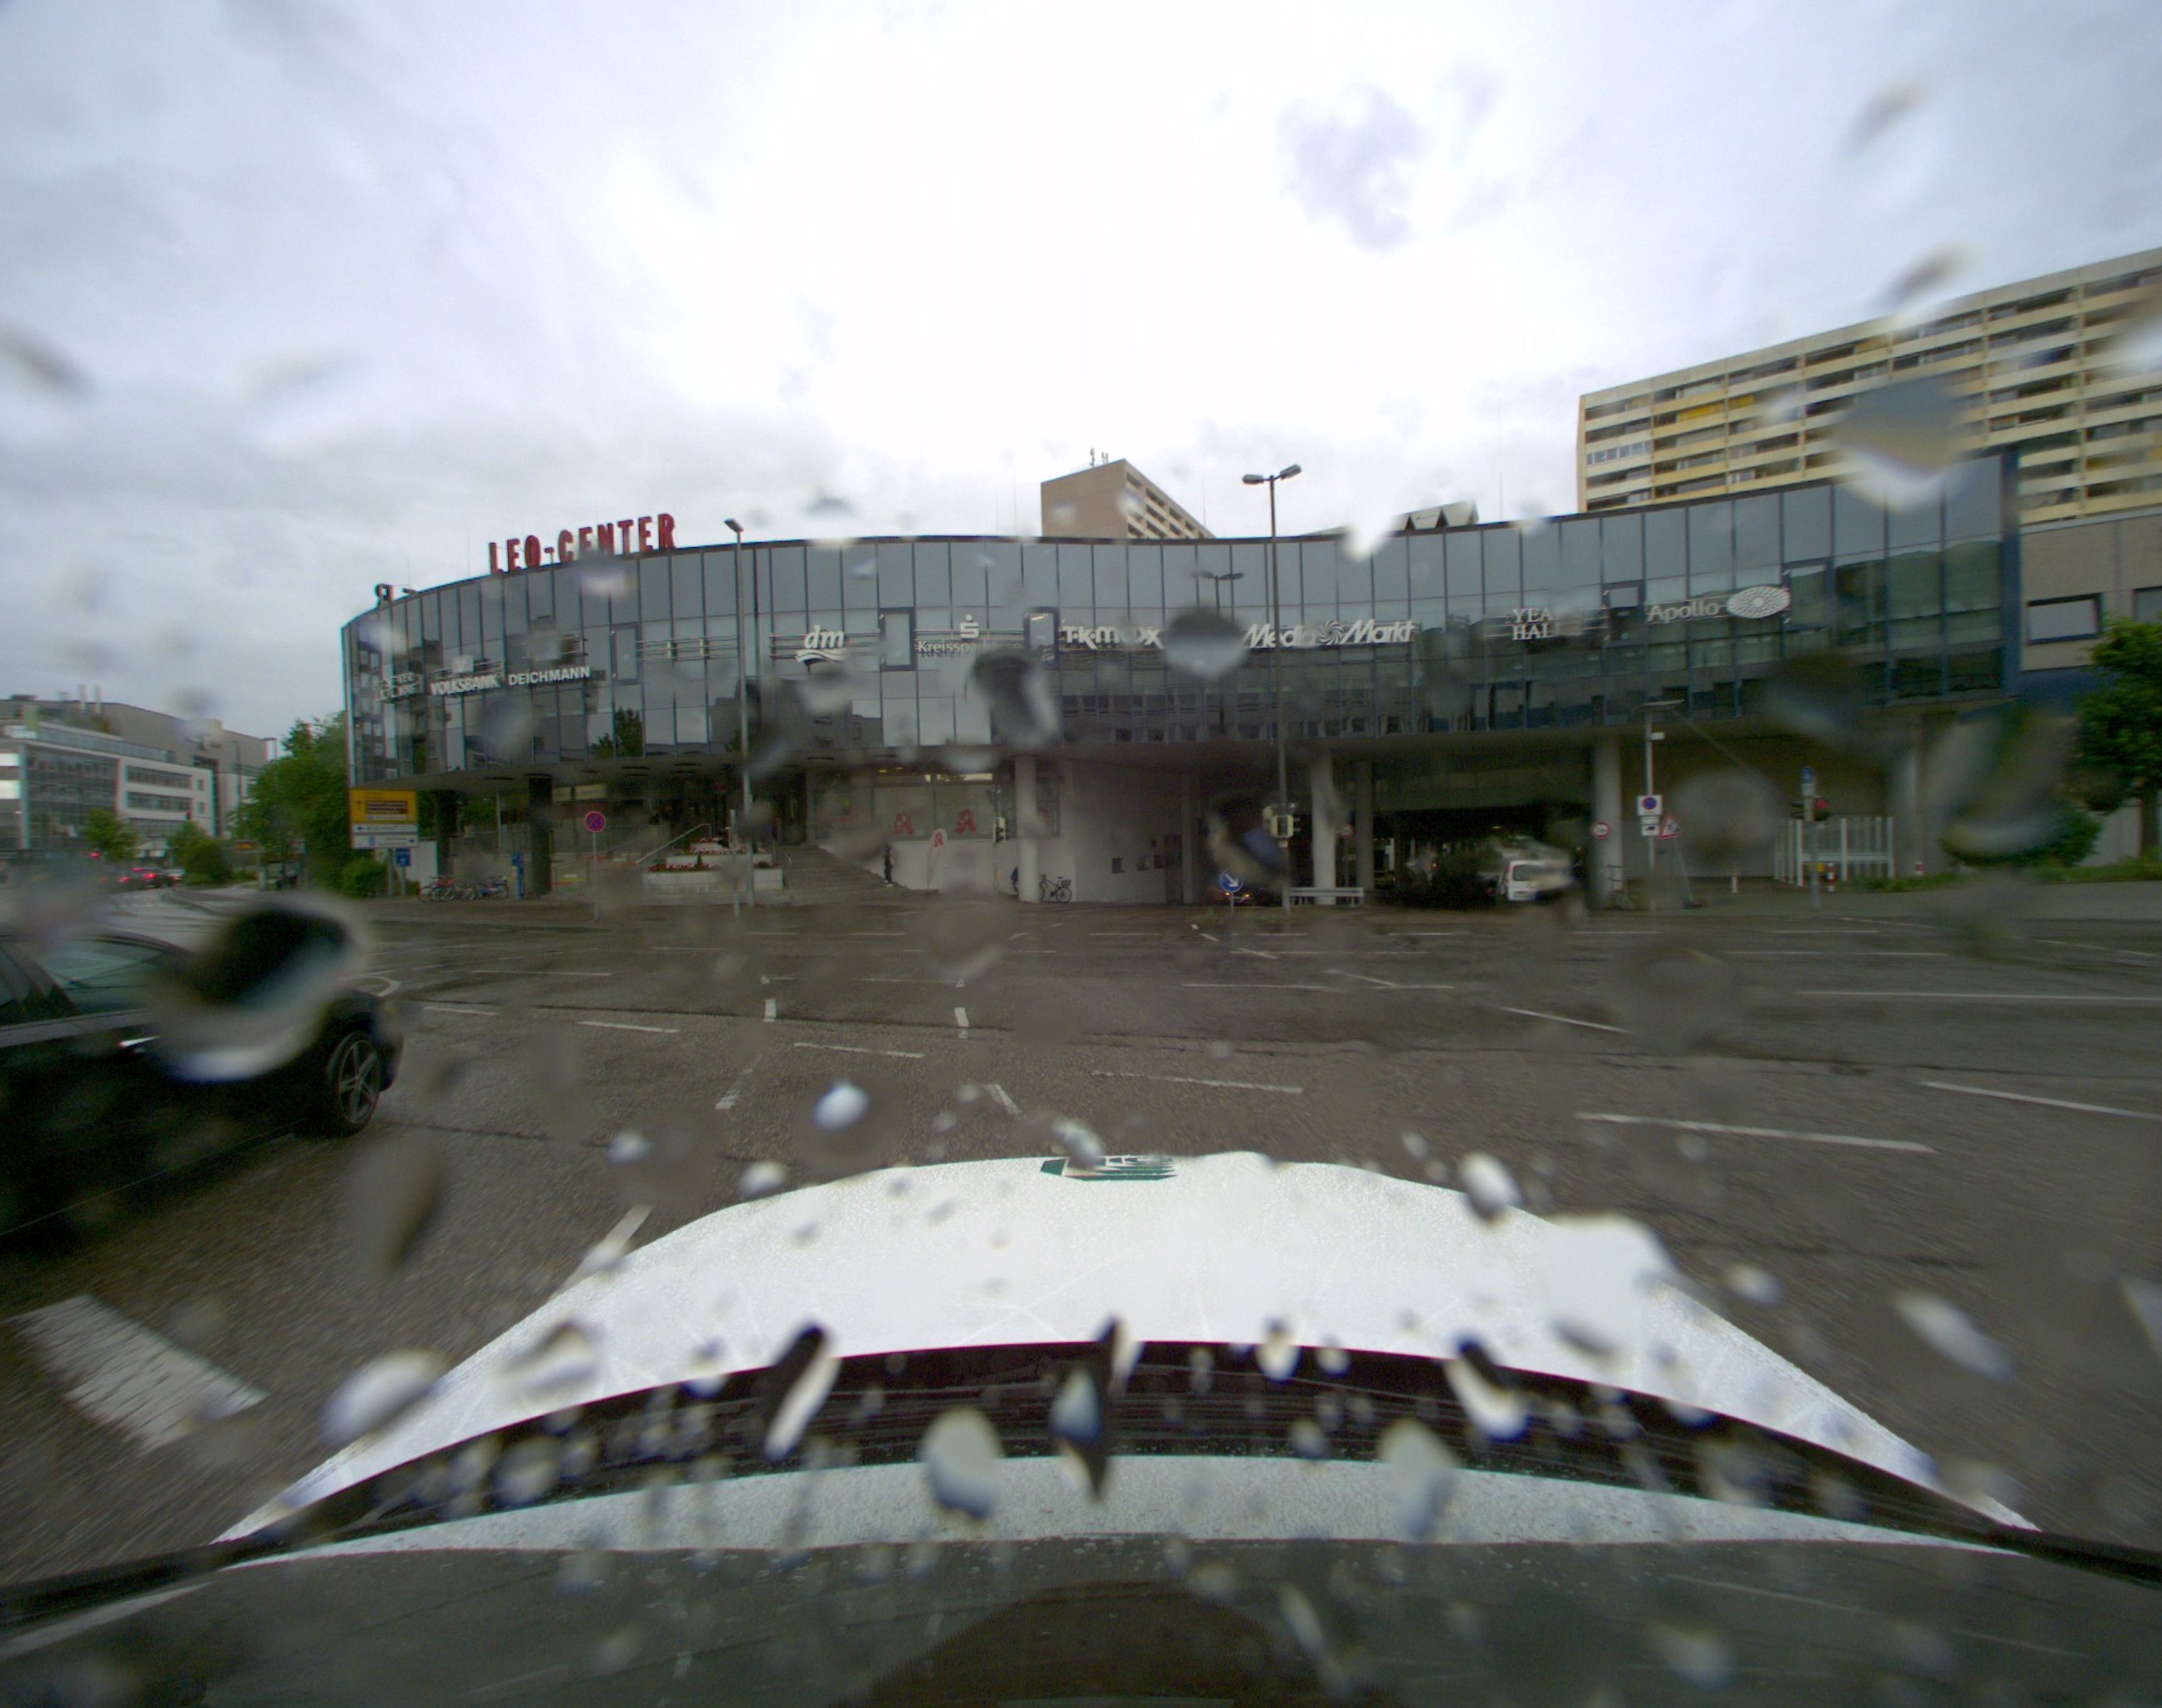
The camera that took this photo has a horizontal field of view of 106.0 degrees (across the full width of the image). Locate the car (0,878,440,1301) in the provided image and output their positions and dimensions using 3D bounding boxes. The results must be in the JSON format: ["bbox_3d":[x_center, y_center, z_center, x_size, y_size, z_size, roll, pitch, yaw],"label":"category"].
[{"bbox_3d":[-4.868,0.895,3.494,1.664,1.481,4.077,-1,-1,-12],"label":"car"}]

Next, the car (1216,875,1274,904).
[{"bbox_3d":[8.879,1.954,43.850,1.874,1.470,4.051,-1,-4,29],"label":"car"}]

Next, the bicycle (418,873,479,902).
[{"bbox_3d":[-26.568,1.380,34.258,0.621,1.033,1.867,-2,3,31],"label":"bicycle"}]

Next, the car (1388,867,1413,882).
[{"bbox_3d":[34.014,2.197,86.566,1.975,1.464,4.024,-2,0,28],"label":"car"}]

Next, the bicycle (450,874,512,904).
[{"bbox_3d":[-24.419,1.414,33.166,0.624,1.023,1.867,-2,2,31],"label":"bicycle"}]

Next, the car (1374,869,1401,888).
[{"bbox_3d":[30.100,2.374,79.836,1.975,1.663,4.024,1,1,28],"label":"car"}]

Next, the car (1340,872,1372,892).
[{"bbox_3d":[23.712,2.396,70.097,1.896,1.588,3.963,-2,0,28],"label":"car"}]

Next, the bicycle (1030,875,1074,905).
[{"bbox_3d":[-1.115,1.407,31.727,1.586,1.018,0.449,5,-1,-18],"label":"bicycle"}]

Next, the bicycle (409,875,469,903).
[{"bbox_3d":[-27.212,1.472,34.527,0.529,0.951,1.867,0,4,34],"label":"bicycle"}]

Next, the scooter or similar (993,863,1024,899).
[{"bbox_3d":[-2.800,1.029,31.620,1.163,1.373,0.489,0,0,-2],"label":"scooter or similar"}]

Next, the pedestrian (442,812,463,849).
[{"bbox_3d":[-29.271,-1.081,37.931,0.592,1.713,0.659,1,0,36],"label":"pedestrian"}]

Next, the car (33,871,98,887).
[{"bbox_3d":[-104.458,2.554,83.805,1.762,1.518,3.917,0,1,31],"label":"car"}]

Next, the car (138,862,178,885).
[{"bbox_3d":[-79.337,1.660,70.018,1.845,1.770,3.809,-1,1,-43],"label":"car"}]

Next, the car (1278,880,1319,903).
[{"bbox_3d":[14.651,2.475,54.752,1.754,1.464,3.899,-2,-2,28],"label":"car"}]

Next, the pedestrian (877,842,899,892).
[{"bbox_3d":[-7.478,0.497,31.580,0.652,1.908,0.595,0,0,5],"label":"pedestrian"}]

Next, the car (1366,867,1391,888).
[{"bbox_3d":[27.121,2.129,74.106,1.820,1.727,4.023,-1,0,24],"label":"car"}]

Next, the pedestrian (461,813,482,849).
[{"bbox_3d":[-28.785,-1.086,38.459,0.592,1.713,0.659,1,0,36],"label":"pedestrian"}]

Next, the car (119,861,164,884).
[{"bbox_3d":[-74.902,1.459,64.994,1.927,1.724,3.763,-1,1,-43],"label":"car"}]

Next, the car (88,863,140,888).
[{"bbox_3d":[-70.792,1.555,59.664,1.903,1.672,3.952,-1,1,-43],"label":"car"}]

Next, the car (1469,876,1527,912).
[{"bbox_3d":[18.189,1.742,35.451,1.740,1.464,3.967,-2,-3,34],"label":"car"}]

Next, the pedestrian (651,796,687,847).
[{"bbox_3d":[-16.545,-1.308,32.708,0.823,2.013,0.957,0,0,19],"label":"pedestrian"}]

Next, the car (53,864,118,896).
[{"bbox_3d":[-66.092,1.678,54.117,2.060,1.895,4.090,-1,1,-41],"label":"car"}]

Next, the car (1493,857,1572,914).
[{"bbox_3d":[15.446,1.051,28.062,1.908,1.797,4.320,-2,-1,23],"label":"car"}]

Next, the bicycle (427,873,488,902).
[{"bbox_3d":[-25.919,1.382,33.882,0.639,1.042,1.867,-2,3,31],"label":"bicycle"}]
